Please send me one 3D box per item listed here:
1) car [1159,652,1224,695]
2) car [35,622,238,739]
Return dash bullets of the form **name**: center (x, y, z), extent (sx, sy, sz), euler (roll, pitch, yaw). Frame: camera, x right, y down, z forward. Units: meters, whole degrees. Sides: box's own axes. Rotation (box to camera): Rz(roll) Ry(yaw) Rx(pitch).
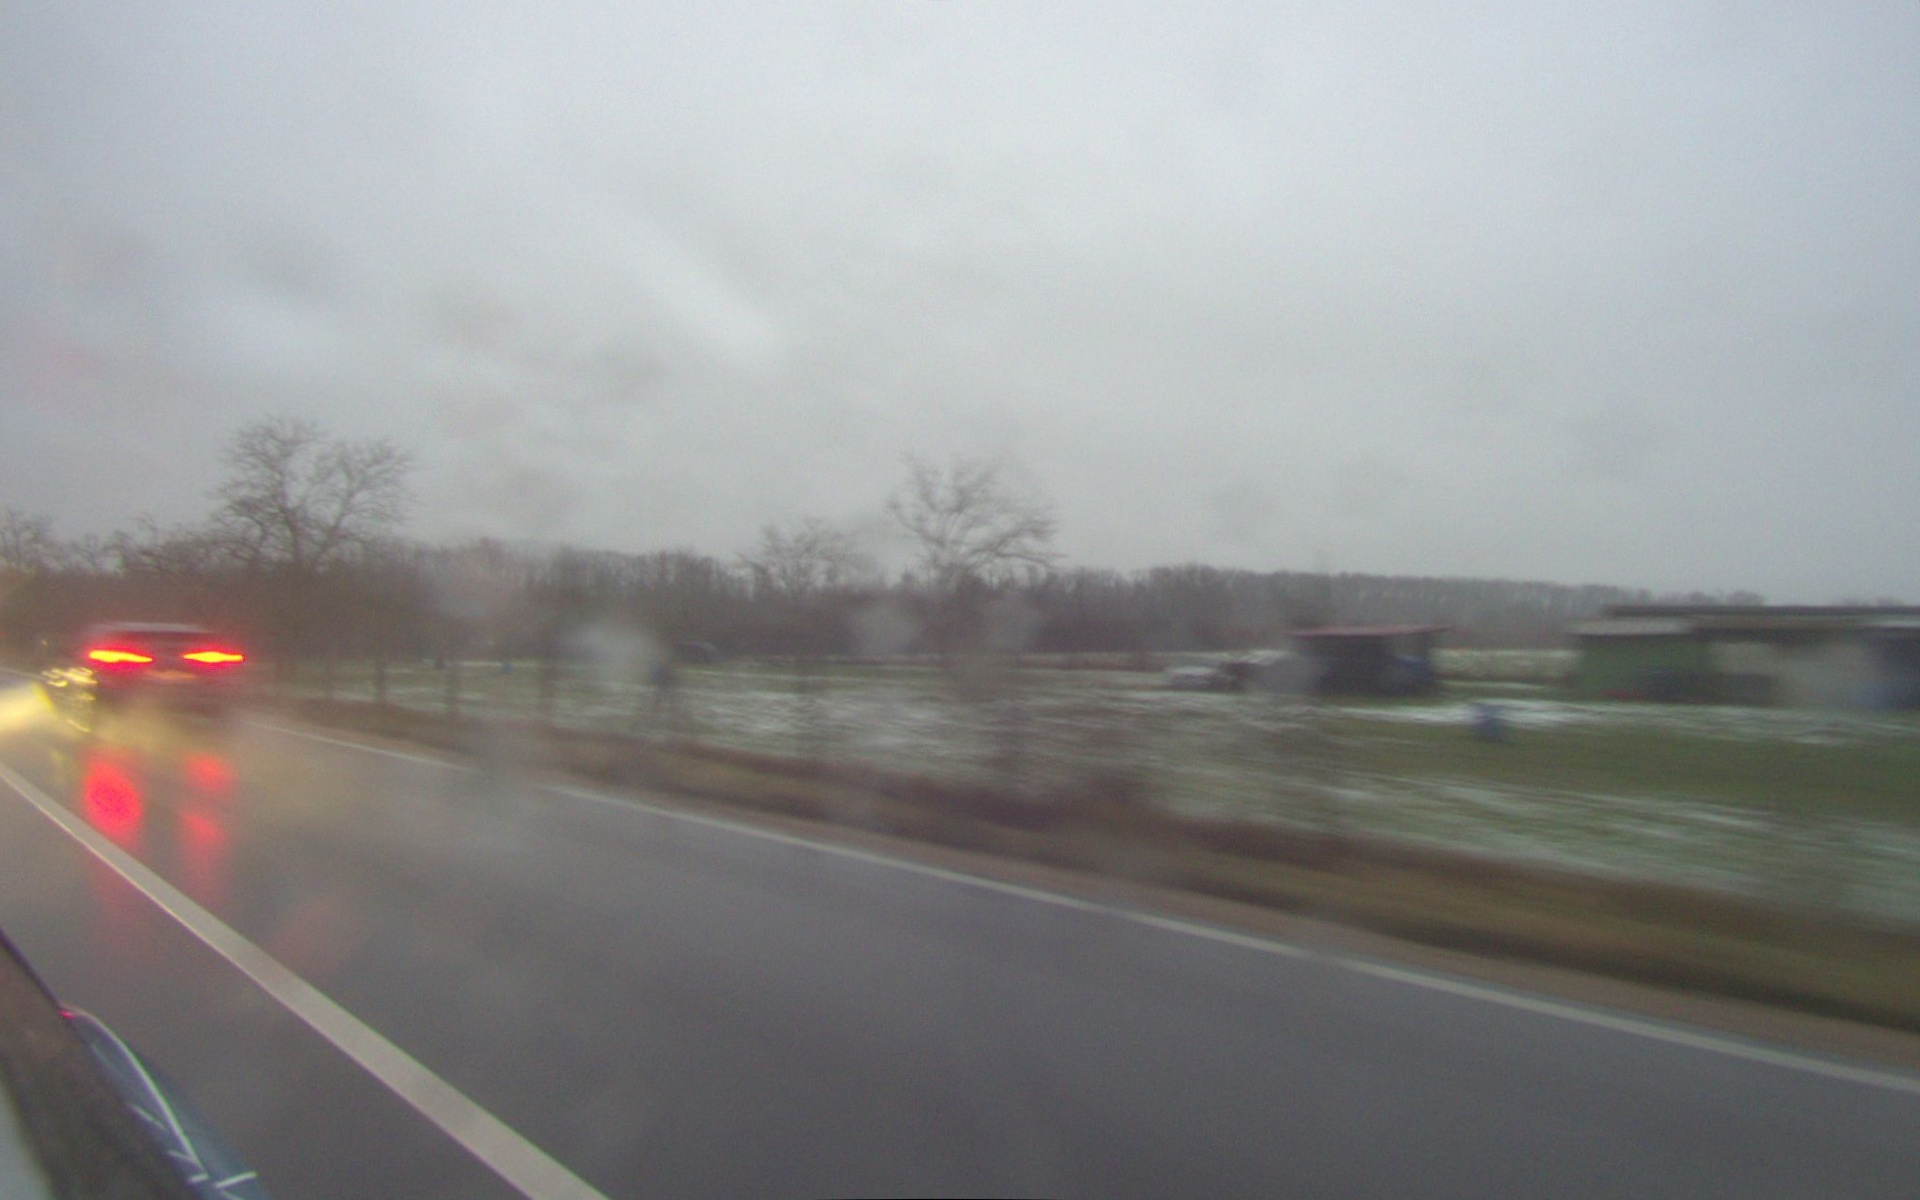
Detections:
- **car**: center (8.663, 2.688, 37.659), extent (1.591, 1.352, 3.421), euler (-1, 0, 27)
- **car**: center (-12.761, 1.165, 15.608), extent (3.998, 1.567, 1.743), euler (-2, -4, 41)
